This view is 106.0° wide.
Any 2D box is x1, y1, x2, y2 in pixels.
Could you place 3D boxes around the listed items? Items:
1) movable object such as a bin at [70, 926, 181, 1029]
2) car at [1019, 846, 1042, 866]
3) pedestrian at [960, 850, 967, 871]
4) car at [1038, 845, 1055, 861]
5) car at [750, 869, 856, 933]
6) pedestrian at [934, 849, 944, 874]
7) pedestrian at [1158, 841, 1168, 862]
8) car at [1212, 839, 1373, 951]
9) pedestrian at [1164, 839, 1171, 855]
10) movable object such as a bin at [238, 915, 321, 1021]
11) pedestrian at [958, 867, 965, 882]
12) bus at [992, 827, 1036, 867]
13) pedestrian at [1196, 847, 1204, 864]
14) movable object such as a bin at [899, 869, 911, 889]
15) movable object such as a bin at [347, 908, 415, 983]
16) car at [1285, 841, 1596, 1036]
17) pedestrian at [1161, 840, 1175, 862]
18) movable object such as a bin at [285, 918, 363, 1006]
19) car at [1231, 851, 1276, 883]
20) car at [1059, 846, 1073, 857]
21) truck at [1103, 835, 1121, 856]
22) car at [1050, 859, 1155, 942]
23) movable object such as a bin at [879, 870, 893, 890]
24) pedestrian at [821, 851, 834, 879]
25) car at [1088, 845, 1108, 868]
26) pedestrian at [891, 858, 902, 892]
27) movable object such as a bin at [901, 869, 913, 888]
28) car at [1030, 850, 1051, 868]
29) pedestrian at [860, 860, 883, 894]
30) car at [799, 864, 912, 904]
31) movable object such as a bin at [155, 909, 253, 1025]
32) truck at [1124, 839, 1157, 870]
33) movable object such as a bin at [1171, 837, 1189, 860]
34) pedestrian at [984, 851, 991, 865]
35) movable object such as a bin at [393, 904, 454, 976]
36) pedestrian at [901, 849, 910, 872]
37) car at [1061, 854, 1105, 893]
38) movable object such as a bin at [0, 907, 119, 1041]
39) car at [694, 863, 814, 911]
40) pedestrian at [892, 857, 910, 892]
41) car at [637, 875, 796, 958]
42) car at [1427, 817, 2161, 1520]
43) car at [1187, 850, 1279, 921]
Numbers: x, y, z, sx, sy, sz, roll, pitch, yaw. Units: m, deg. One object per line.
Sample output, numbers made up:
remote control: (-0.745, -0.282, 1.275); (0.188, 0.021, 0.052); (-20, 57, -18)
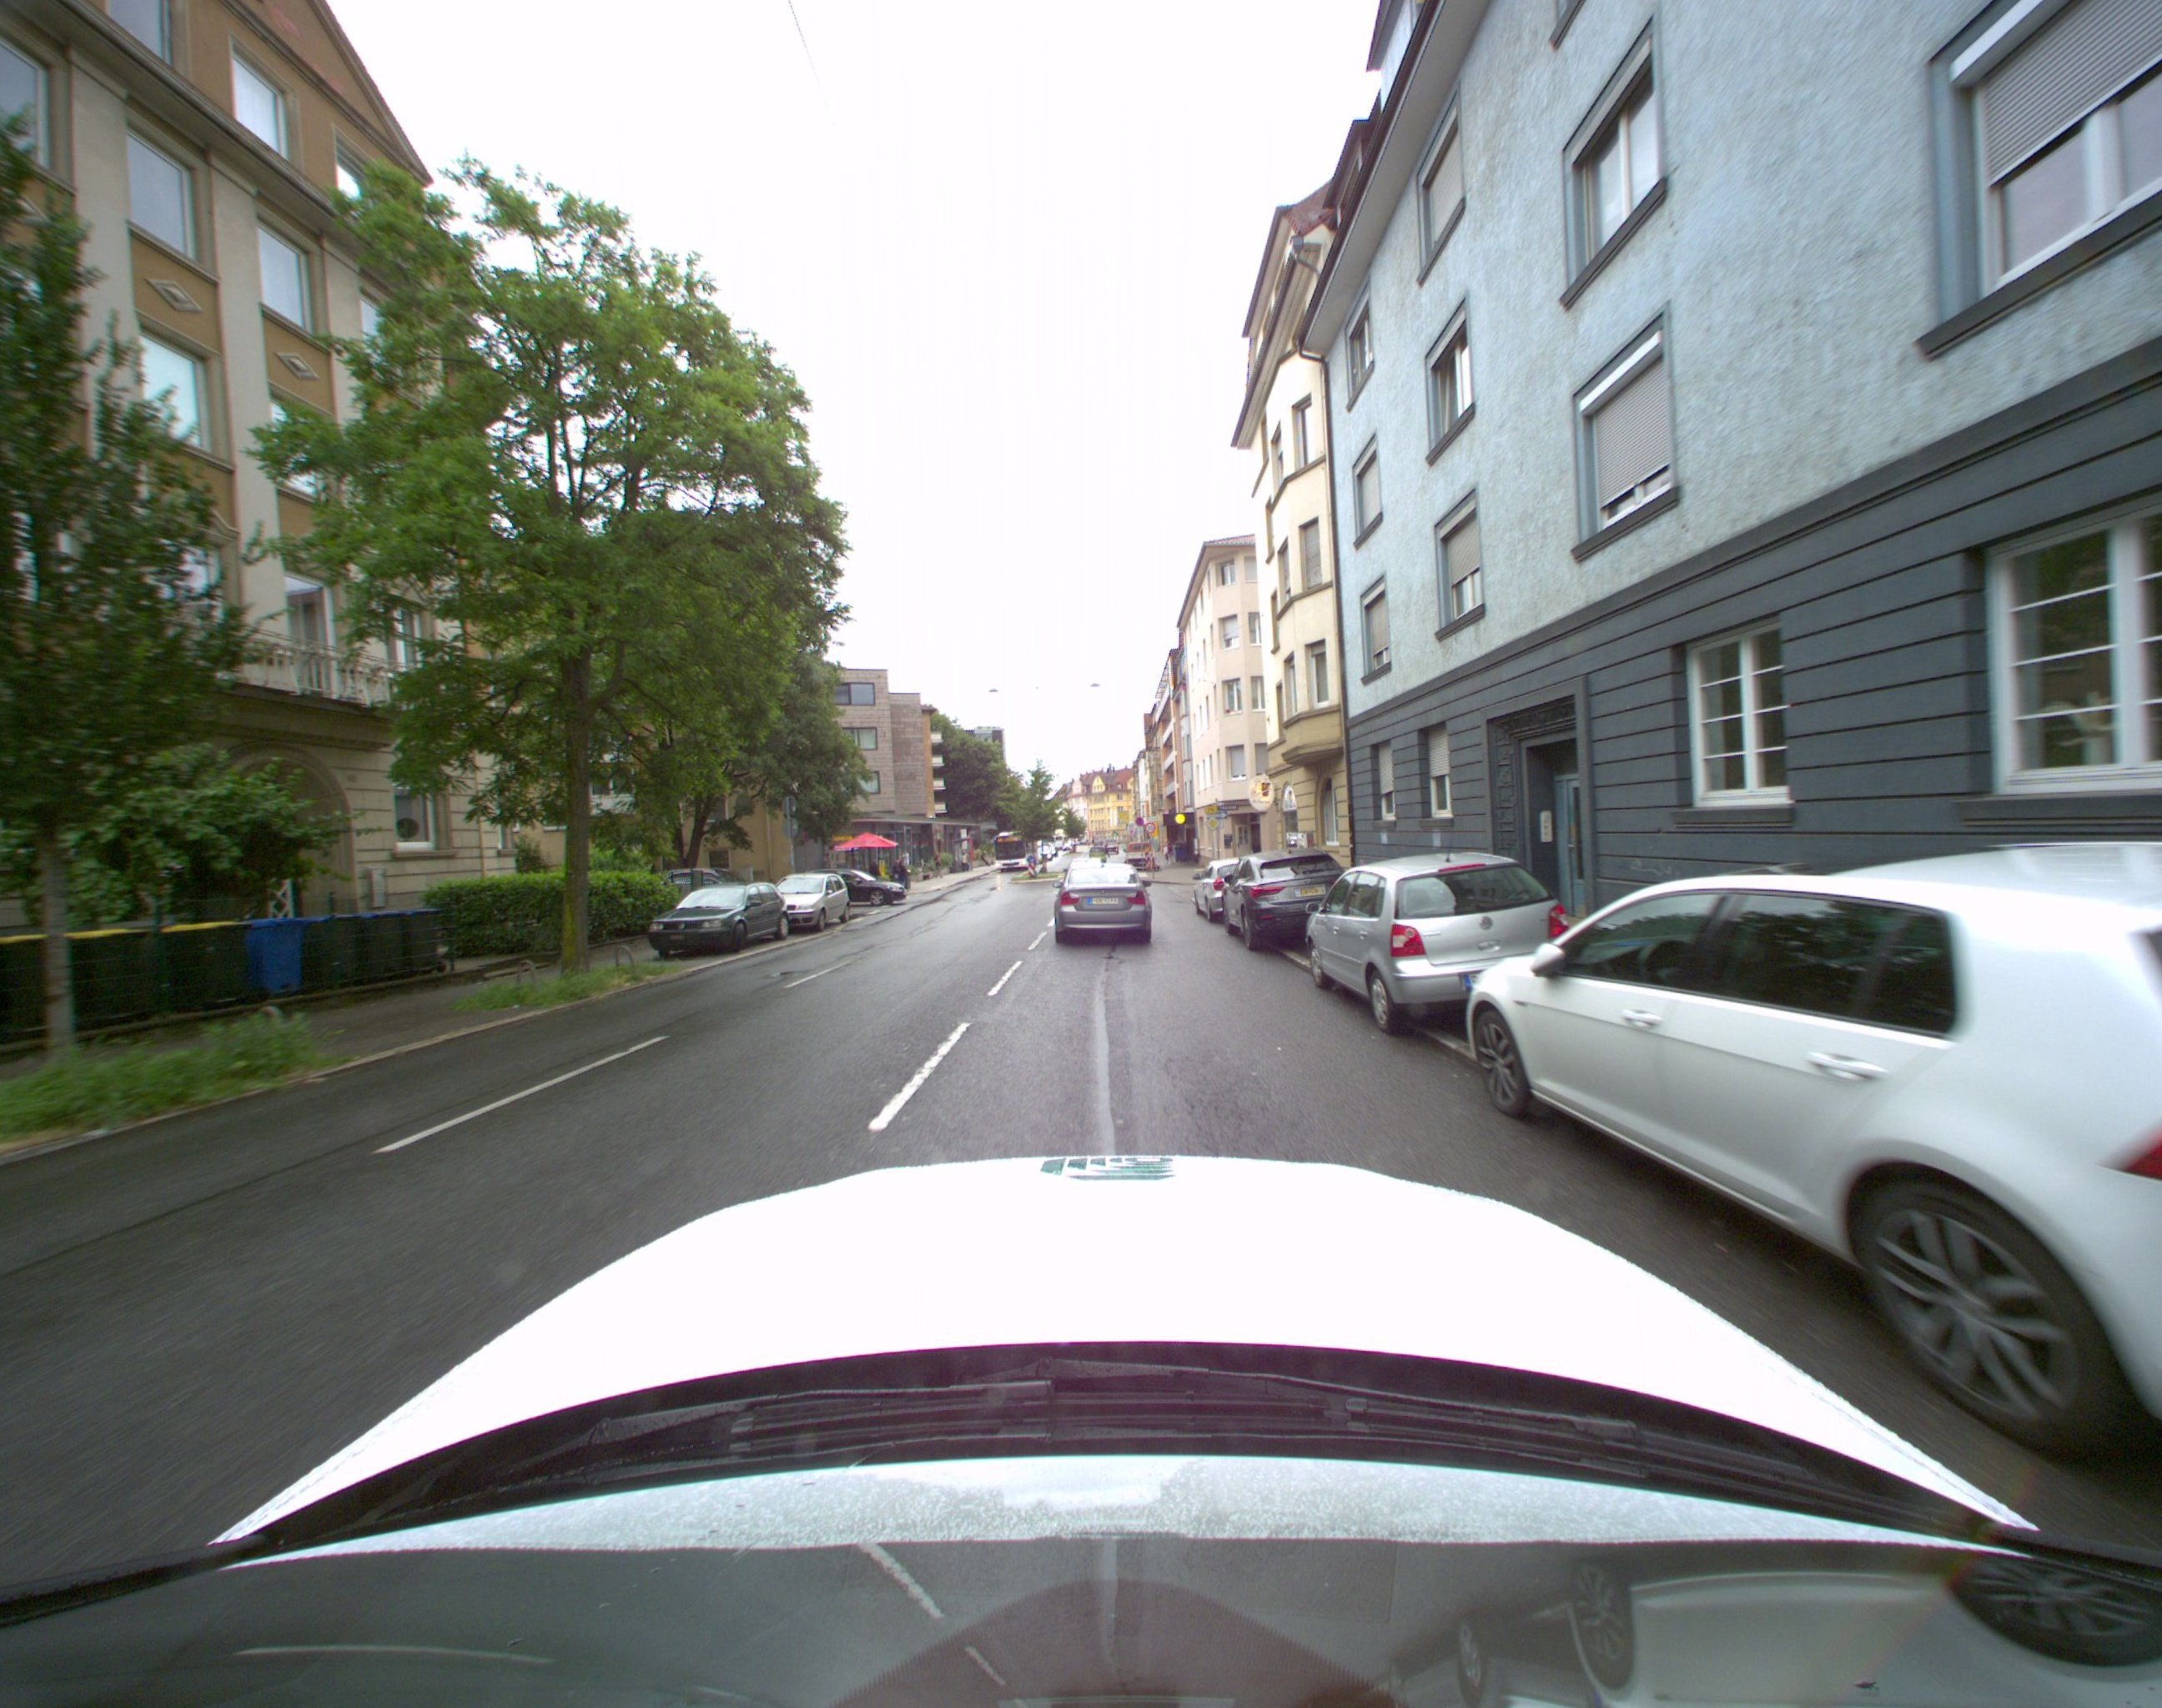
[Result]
movable object such as a bin: (-10.722, 1.368, 9.156); (0.438, 1.039, 0.650); (-3, 0, 1)
car: (-5.139, 0.225, 83.859); (1.987, 2.014, 4.000); (1, -1, 1)
pedestrian: (-9.433, 0.522, 65.560); (0.542, 1.709, 0.465); (0, -1, -5)
car: (-4.530, -0.081, 106.282); (1.986, 2.014, 4.000); (0, -1, 1)
car: (-7.504, 1.215, 22.334); (1.627, 1.454, 3.837); (-2, 0, -2)
pedestrian: (-10.204, 0.573, 58.556); (0.546, 1.790, 0.462); (1, -1, -28)
pedestrian: (6.559, -0.177, 65.428); (0.745, 1.661, 0.838); (0, -1, 8)
car: (3.559, 0.629, 14.521); (1.811, 1.557, 4.295); (-4, 0, 2)
pedestrian: (8.867, -0.736, 83.470); (0.611, 1.661, 0.756); (0, -1, 8)
movable object such as a bin: (-10.656, 1.495, 10.844); (0.438, 1.308, 0.609); (-3, 0, 1)
pedestrian: (-9.829, 1.722, 67.052); (0.463, 1.230, 0.545); (0, -1, 3)
bus: (-5.701, -0.461, 71.423); (2.671, 3.201, 11.956); (0, -1, 1)
pedestrian: (8.490, 0.088, 58.173); (0.411, 1.203, 0.357); (-5, 1, 4)
movable object such as a bin: (-10.117, 1.432, 46.772); (0.488, 1.081, 0.606); (-3, -1, 2)
movable object such as a bin: (-10.638, 1.375, 12.395); (0.424, 1.040, 0.651); (-3, 0, 1)
car: (3.334, 0.678, 8.340); (1.577, 1.429, 3.596); (-5, 0, 2)
pedestrian: (6.826, -0.240, 63.759); (0.755, 1.661, 0.747); (1, -2, -34)
movable object such as a bin: (-10.644, 1.501, 11.467); (0.438, 1.130, 0.657); (-3, 0, 1)
car: (7.615, 0.576, 36.280); (1.429, 1.357, 3.765); (0, -1, 3)
car: (-2.796, -0.415, 148.338); (1.983, 2.014, 4.008); (0, -1, 7)
truck: (4.043, -1.055, 106.127); (2.209, 2.544, 4.780); (0, -1, 1)
car: (0.410, 0.809, 15.315); (1.749, 1.362, 3.166); (-1, -1, 2)
movable object such as a bin: (-11.064, 1.459, 46.286); (0.551, 1.081, 0.731); (-3, -1, 2)
pedestrian: (-16.745, 0.746, 53.836); (0.637, 1.816, 0.632); (-3, 1, -27)
car: (1.476, 0.228, 72.440); (1.700, 2.014, 3.998); (0, -1, 0)
pedestrian: (-9.359, 1.063, 41.273); (0.466, 1.709, 0.541); (1, -1, -19)
movable object such as a bin: (-10.108, 1.425, 47.436); (0.488, 1.081, 0.606); (-3, -1, 2)
car: (-4.535, 0.578, 91.342); (1.986, 2.014, 4.000); (1, -1, 1)
pedestrian: (-11.089, 1.214, 43.075); (1.061, 1.731, 0.712); (-2, 0, -8)
car: (-8.582, 1.147, 31.203); (3.803, 1.390, 1.743); (-1, -2, 0)
movable object such as a bin: (-10.669, 1.353, 9.925); (0.438, 1.308, 0.650); (-3, 0, 1)
truck: (4.205, 0.065, 58.171); (2.206, 2.117, 4.656); (1, -1, 4)
movable object such as a bin: (7.875, -0.430, 64.892); (1.119, 1.702, 1.433); (-3, -1, -1)
pedestrian: (-9.384, 0.393, 81.579); (0.617, 1.378, 0.545); (0, -1, 3)
movable object such as a bin: (-10.535, 1.368, 13.056); (0.438, 1.081, 0.590); (-3, 0, 1)
pedestrian: (-13.466, 0.493, 62.576); (0.660, 1.706, 0.657); (1, -1, -14)
car: (0.074, 0.745, 31.316); (1.597, 1.420, 3.287); (0, -1, 0)
movable object such as a bin: (-10.789, 1.235, 8.593); (0.438, 1.299, 0.650); (-3, 0, 1)
car: (-12.493, 1.232, 31.252); (3.796, 1.582, 1.694); (-2, 1, 1)
pedestrian: (-9.301, 1.063, 42.095); (0.742, 1.709, 0.676); (-4, 0, -19)
car: (-7.813, 1.271, 17.886); (1.648, 1.454, 3.942); (-3, 0, 0)
car: (3.192, 0.654, 3.486); (1.723, 1.429, 3.975); (-5, 0, 2)
car: (3.642, 0.714, 20.112); (1.563, 1.464, 4.091); (-4, 0, 2)
